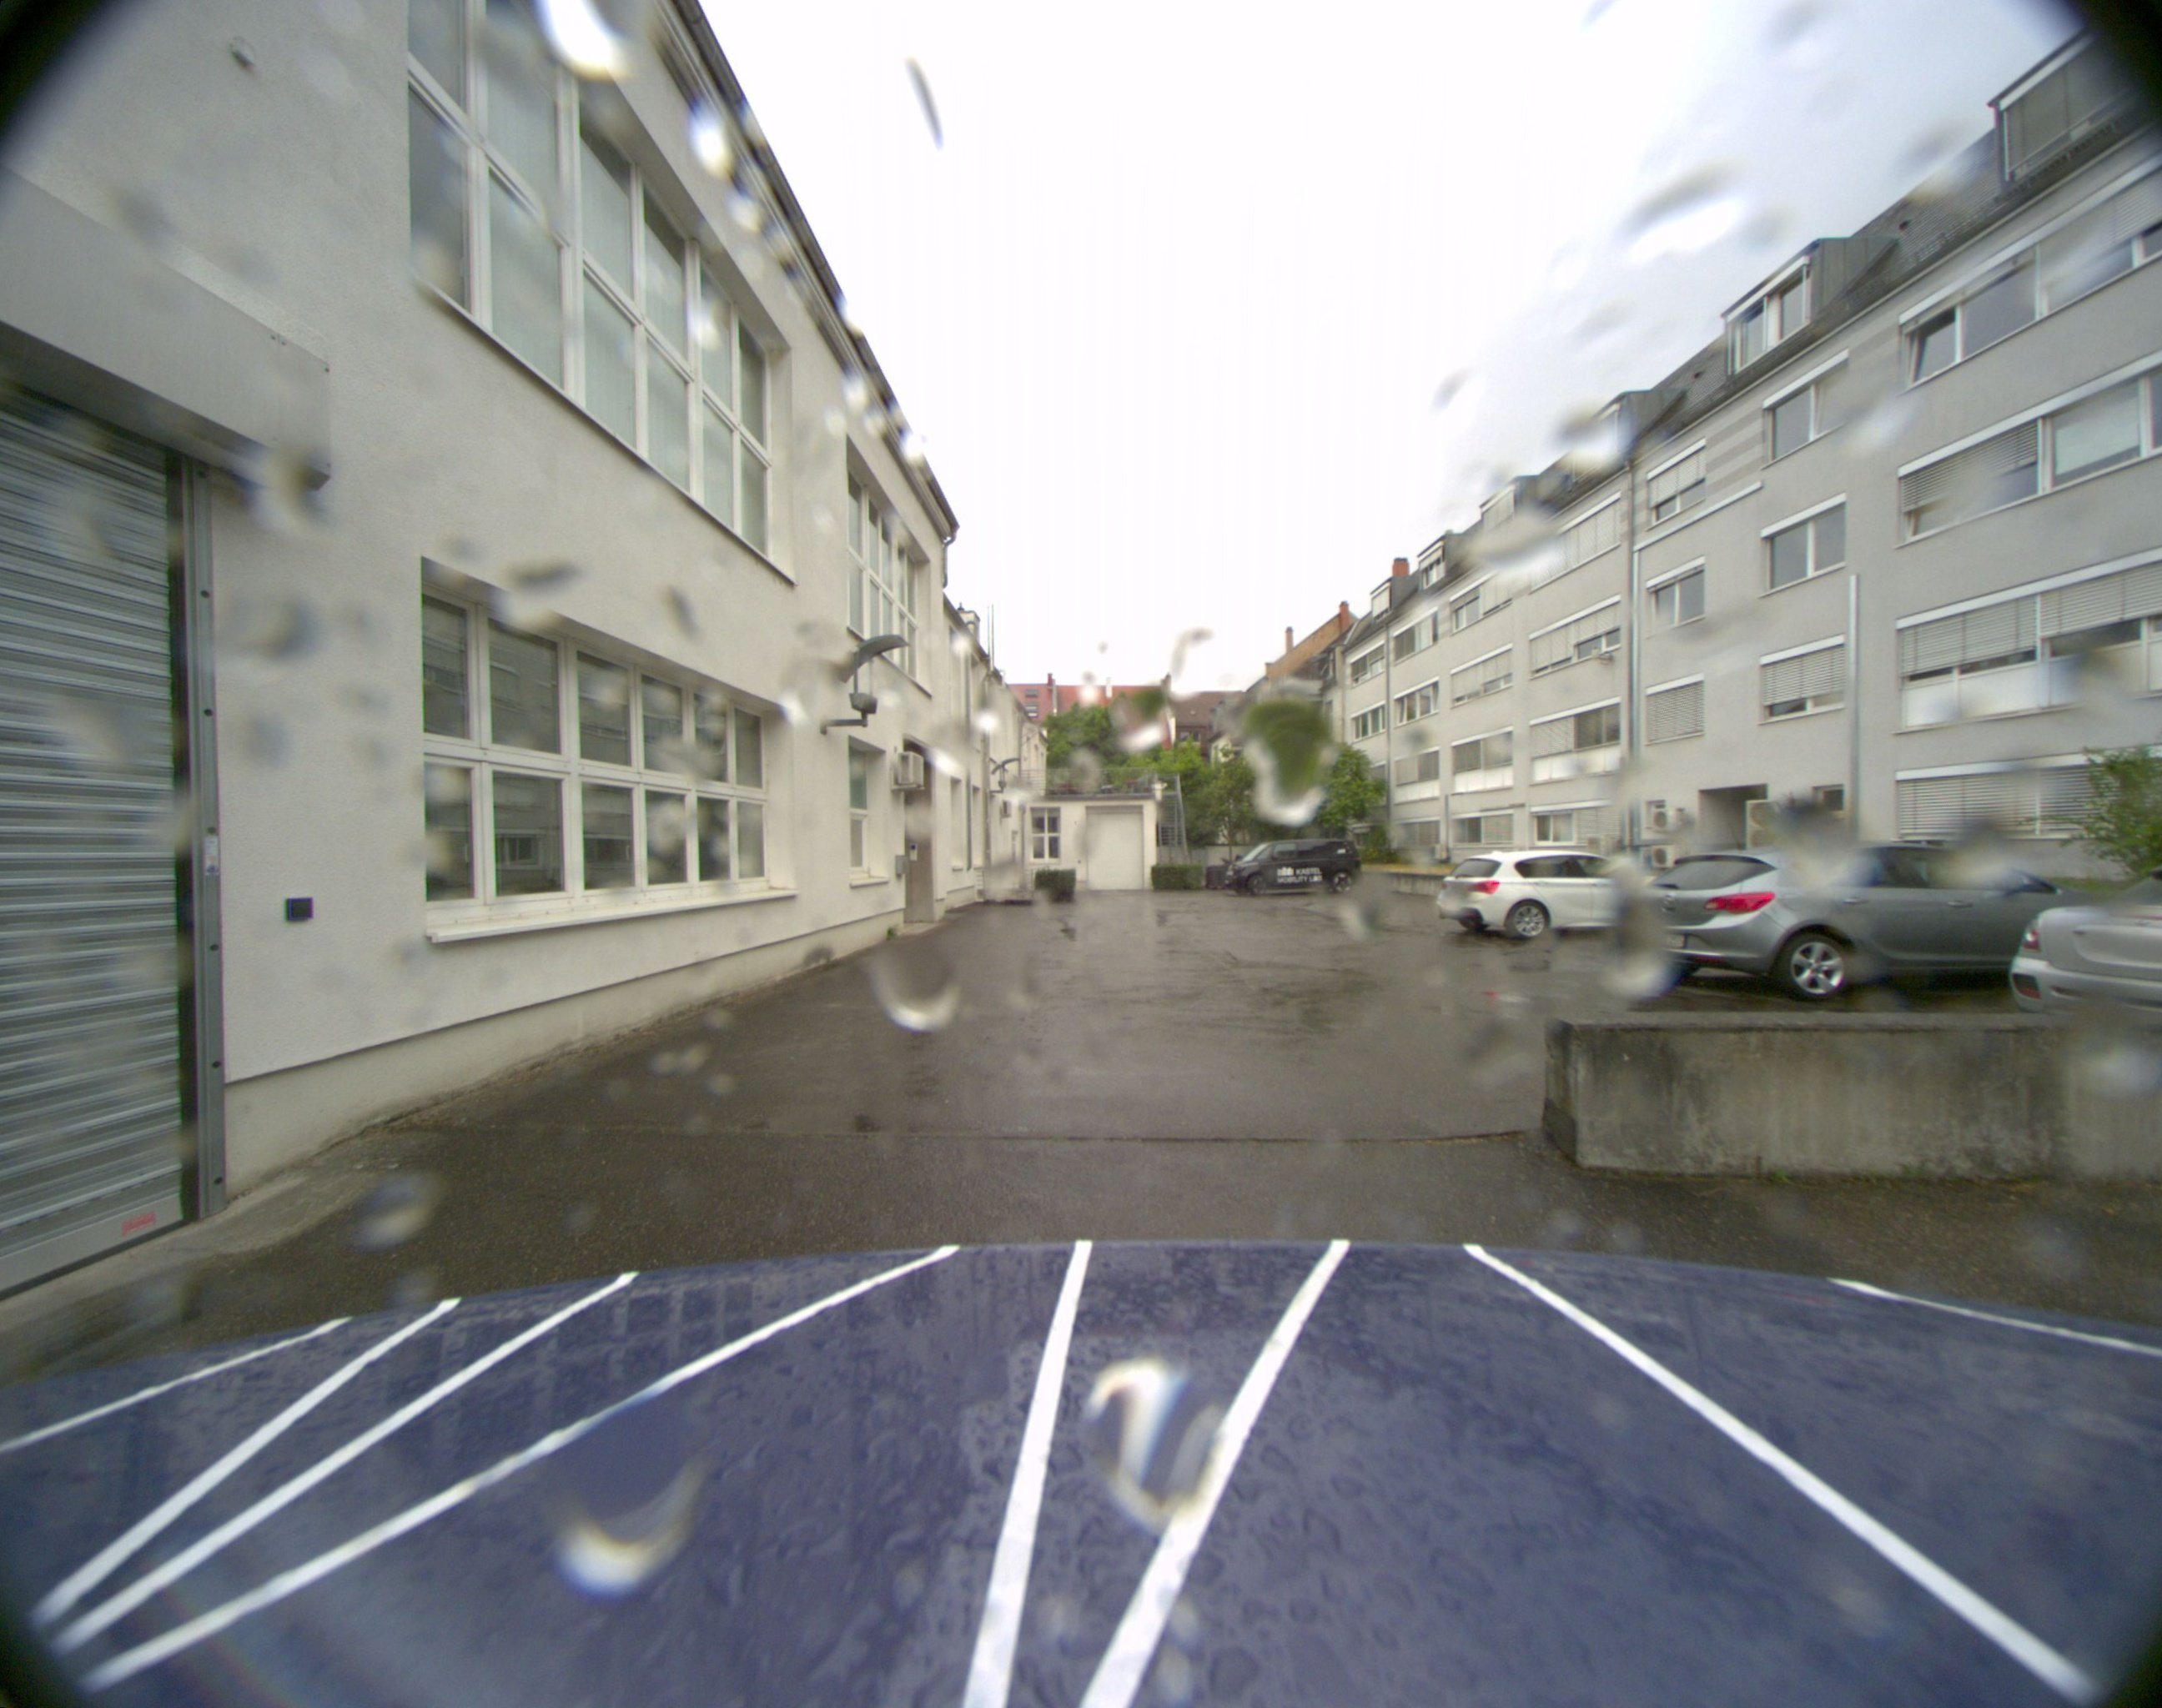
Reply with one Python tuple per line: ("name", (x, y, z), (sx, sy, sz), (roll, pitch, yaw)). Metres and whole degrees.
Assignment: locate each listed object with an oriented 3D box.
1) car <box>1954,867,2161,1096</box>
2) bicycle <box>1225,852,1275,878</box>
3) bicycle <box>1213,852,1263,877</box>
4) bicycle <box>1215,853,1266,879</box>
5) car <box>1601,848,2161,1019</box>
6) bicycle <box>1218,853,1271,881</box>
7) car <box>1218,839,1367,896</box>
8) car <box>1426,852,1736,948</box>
("car", (8.779, 0.723, 4.890), (4.176, 1.325, 1.822), (-3, 0, 0))
("bicycle", (8.153, 0.522, 36.725), (2.318, 1.180, 0.643), (-1, 3, 4))
("bicycle", (7.668, 0.508, 37.258), (2.318, 1.180, 0.643), (-1, 3, 4))
("bicycle", (7.564, 0.564, 36.095), (2.318, 1.180, 0.643), (-1, 3, 4))
("car", (8.056, 0.725, 7.818), (4.176, 1.475, 1.822), (-1, 0, -1))
("bicycle", (7.597, 0.600, 35.294), (2.318, 1.180, 0.643), (-1, 3, 4))
("car", (7.372, 0.477, 26.783), (4.629, 1.826, 1.988), (-1, -1, -4))
("car", (8.349, 0.723, 12.941), (4.150, 1.425, 1.753), (-1, 1, -1))
